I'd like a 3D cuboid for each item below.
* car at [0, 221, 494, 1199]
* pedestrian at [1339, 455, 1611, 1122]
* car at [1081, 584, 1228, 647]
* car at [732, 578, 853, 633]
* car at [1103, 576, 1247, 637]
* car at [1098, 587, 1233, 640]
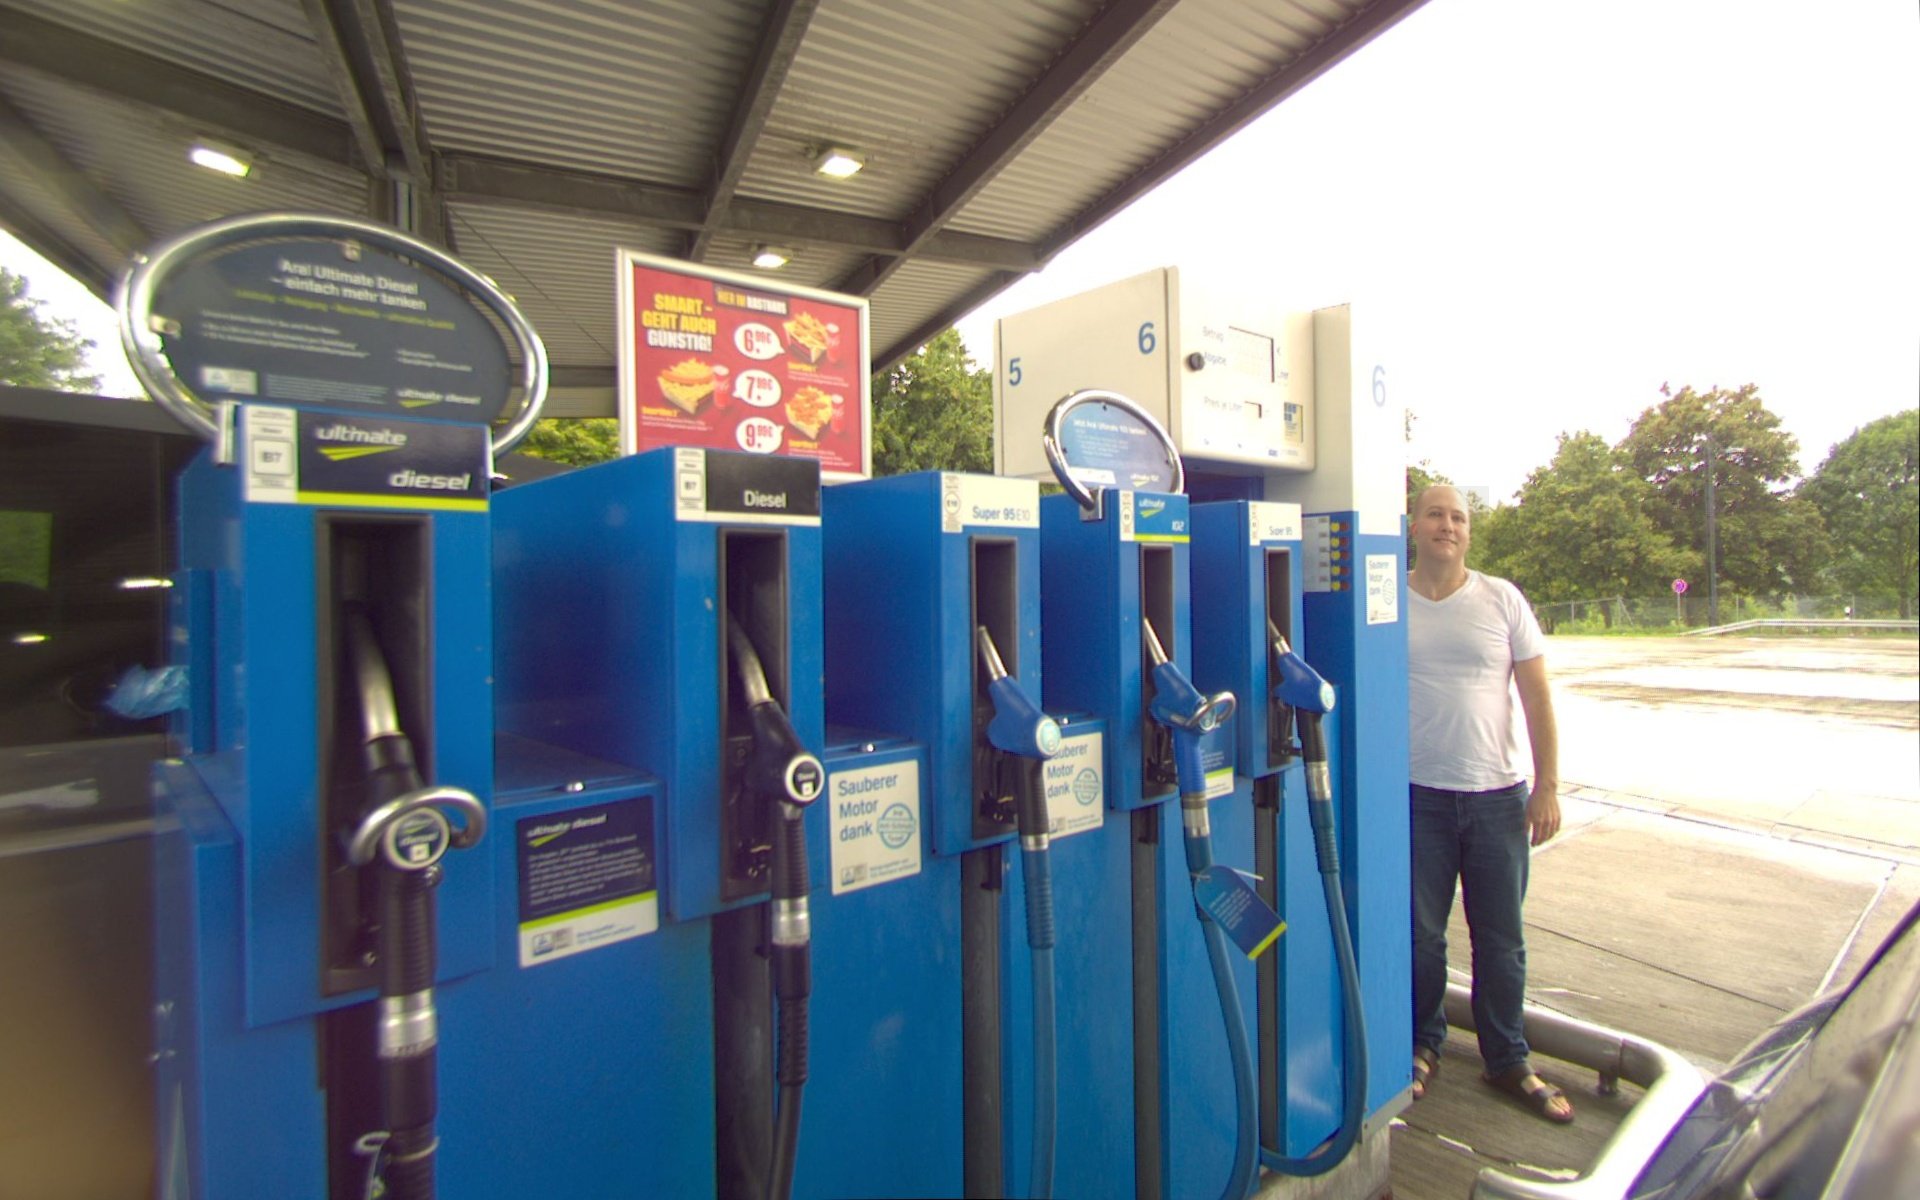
[{"bbox_3d":[-3.031,0.379,1.479,3.930,1.973,1.819,0,0,-41],"label":"car"},{"bbox_3d":[1.532,0.517,3.094,0.625,1.832,0.492,-1,1,15],"label":"pedestrian"},{"bbox_3d":[5.800,0.420,30.014,4.123,1.752,1.990,0,0,17],"label":"car"},{"bbox_3d":[-5.590,0.149,33.496,1.967,1.683,4.170,0,0,-44],"label":"car"},{"bbox_3d":[7.339,0.193,34.723,4.700,2.011,2.007,0,0,14],"label":"car"},{"bbox_3d":[6.602,0.397,32.386,4.123,1.576,1.990,1,0,17],"label":"car"}]
